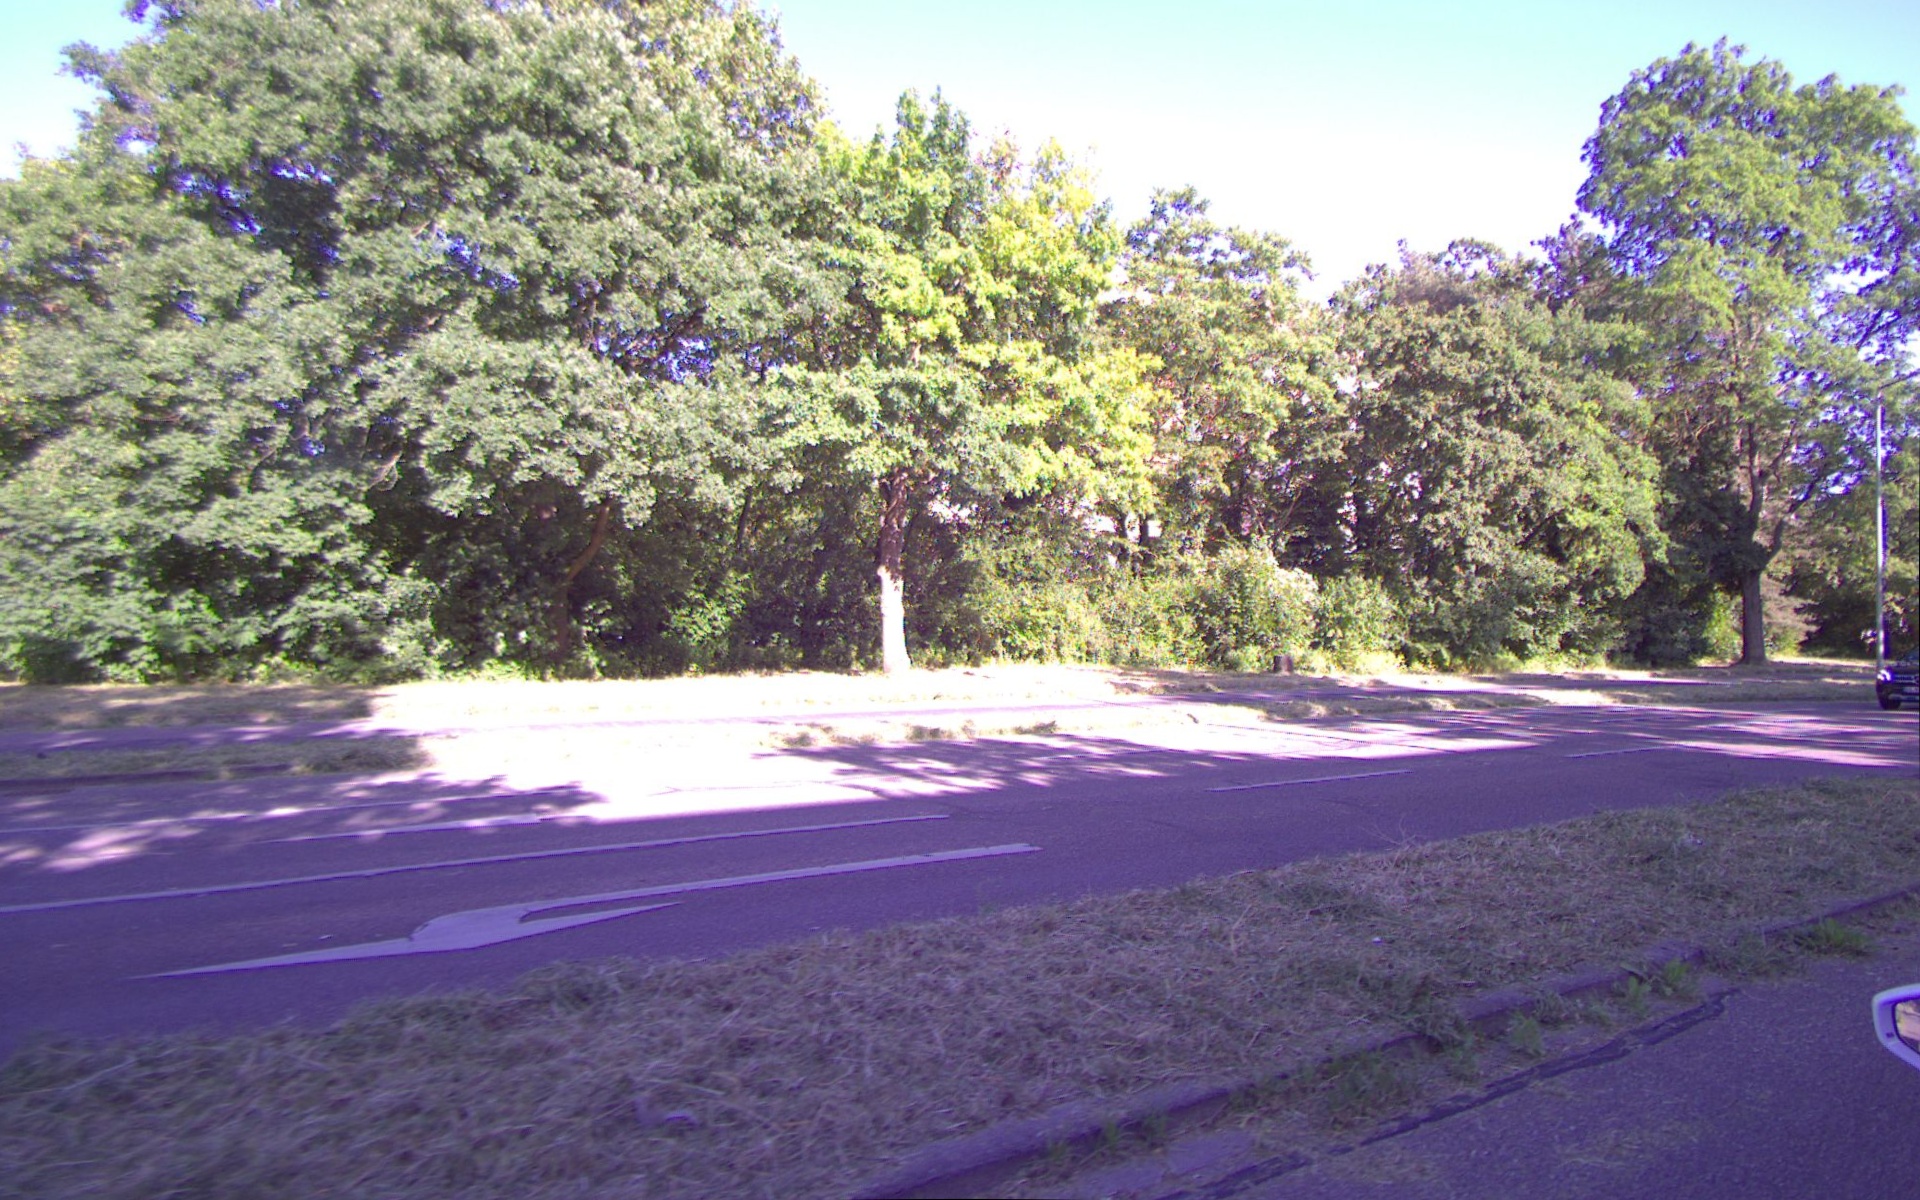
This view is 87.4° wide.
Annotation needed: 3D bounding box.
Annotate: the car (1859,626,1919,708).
[{"bbox_3d":[22.155,1.469,22.339,4.449,1.730,1.832,2,-3,-29],"label":"car"}]
